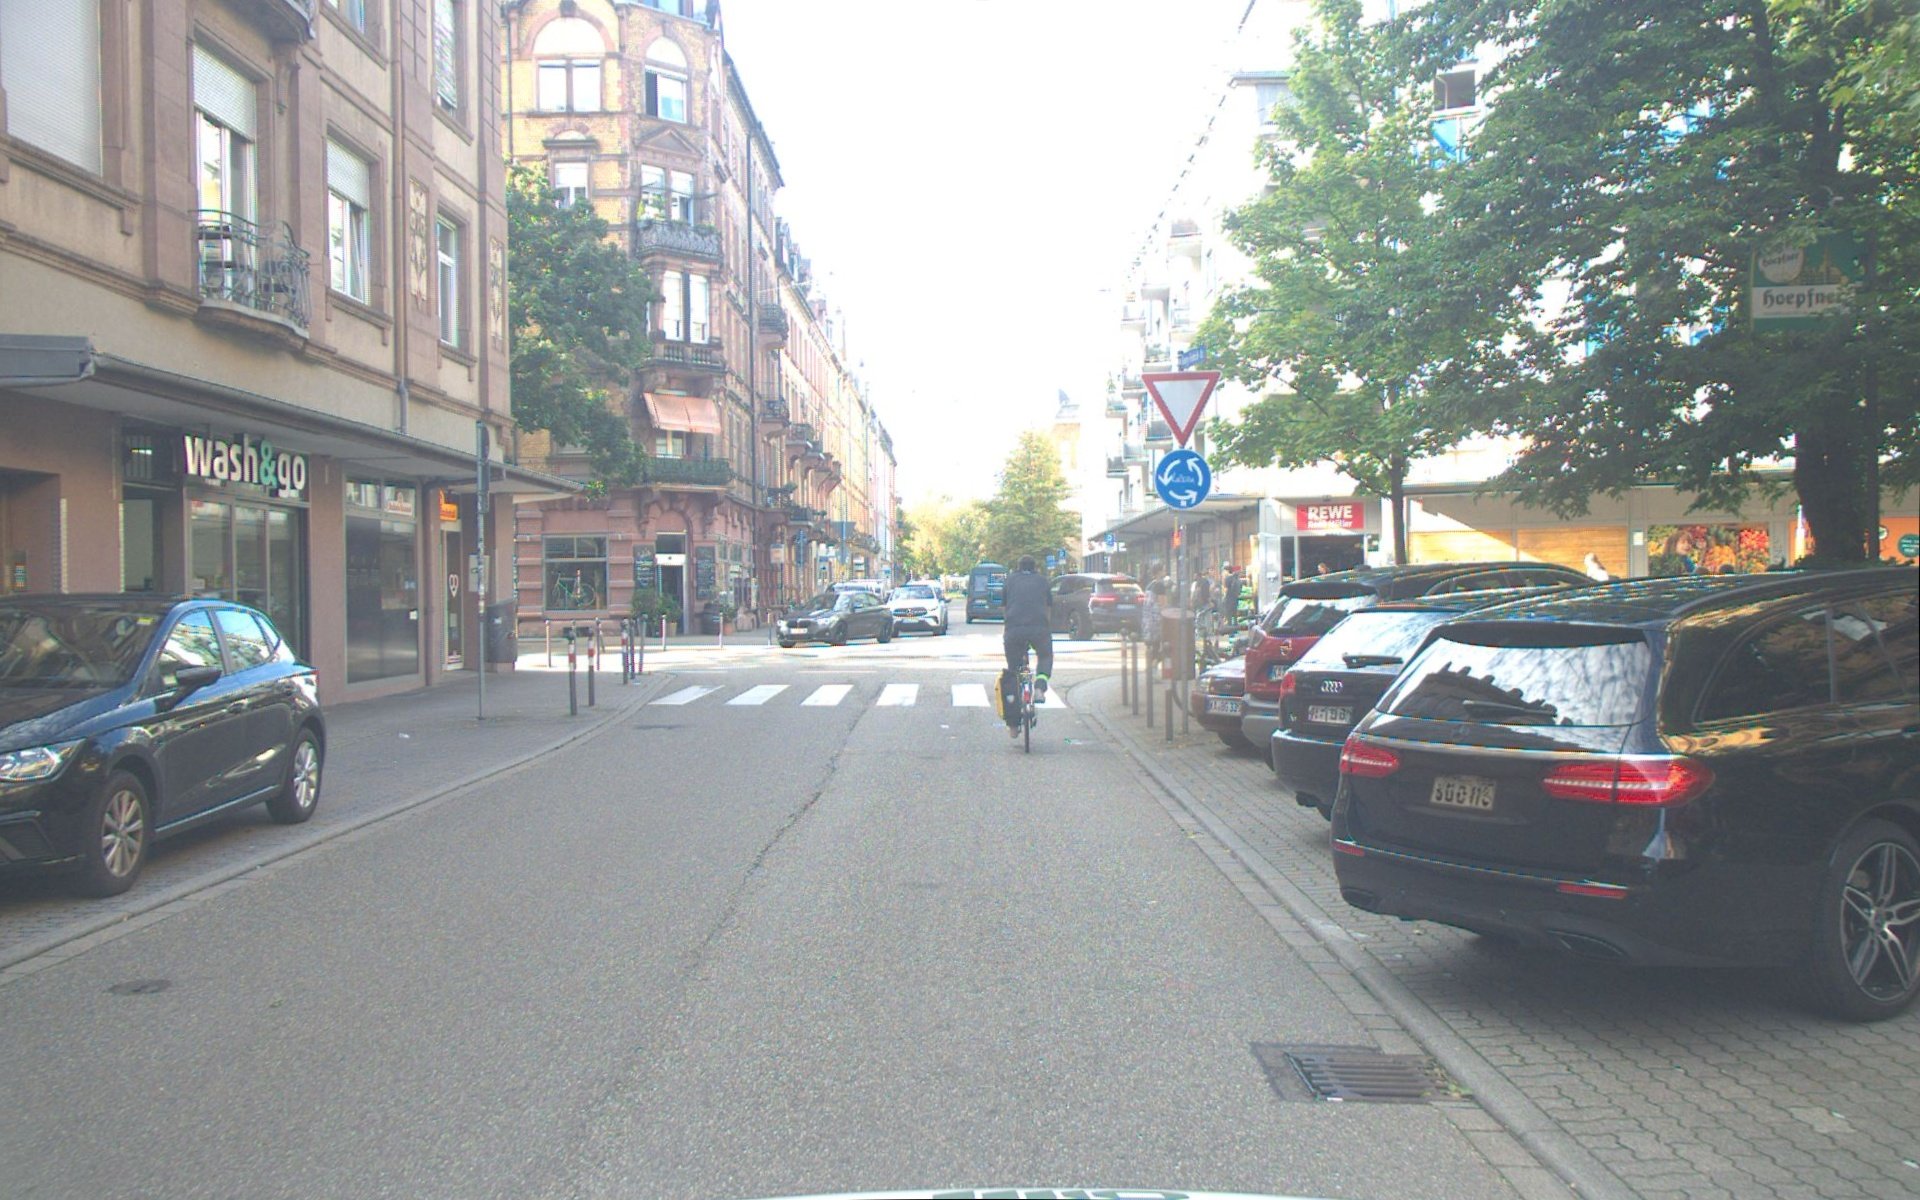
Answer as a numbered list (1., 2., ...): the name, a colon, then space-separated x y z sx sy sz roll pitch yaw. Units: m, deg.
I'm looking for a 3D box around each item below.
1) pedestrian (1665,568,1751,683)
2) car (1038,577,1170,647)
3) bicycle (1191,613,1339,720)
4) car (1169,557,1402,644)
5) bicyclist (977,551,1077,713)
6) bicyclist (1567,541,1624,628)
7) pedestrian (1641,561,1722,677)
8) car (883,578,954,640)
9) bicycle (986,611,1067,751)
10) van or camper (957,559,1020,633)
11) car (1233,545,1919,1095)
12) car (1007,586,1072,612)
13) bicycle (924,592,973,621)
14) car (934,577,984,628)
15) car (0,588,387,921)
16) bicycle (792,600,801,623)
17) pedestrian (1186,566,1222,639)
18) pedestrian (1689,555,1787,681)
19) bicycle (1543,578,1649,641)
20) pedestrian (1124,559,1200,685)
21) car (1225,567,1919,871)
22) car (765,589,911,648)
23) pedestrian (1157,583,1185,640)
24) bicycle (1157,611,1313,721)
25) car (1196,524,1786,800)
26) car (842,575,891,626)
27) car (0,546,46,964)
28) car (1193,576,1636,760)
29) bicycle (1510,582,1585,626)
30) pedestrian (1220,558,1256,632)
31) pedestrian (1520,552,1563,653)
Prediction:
1. pedestrian: 9.088 0.304 20.120 0.742 1.366 0.596 -1 0 -4
2. car: 3.576 0.275 41.868 1.962 1.646 3.980 -1 0 -17
3. bicycle: 3.256 0.704 17.826 0.454 1.058 1.839 -5 1 -28
4. car: 7.221 0.012 36.993 4.761 1.754 2.030 -1 2 43
5. bicyclist: 0.652 0.297 15.903 0.913 1.510 0.748 0 0 5
6. bicyclist: 12.705 -0.299 33.103 0.991 1.697 0.944 -1 0 18
7. pedestrian: 9.027 0.226 20.704 0.742 1.417 0.548 -1 0 -4
8. car: -1.295 0.247 53.496 1.902 1.752 4.852 -2 2 2
9. bicycle: 0.673 0.725 15.887 0.651 1.198 2.499 0 0 5
10. van or camper: 1.197 -0.177 72.446 2.480 3.090 4.457 -1 0 -2
11. car: 3.655 0.579 6.887 4.700 1.482 2.038 -4 2 -28
12. car: 5.004 -0.058 104.048 3.907 1.512 1.999 -2 0 -2
13. bicycle: -0.432 0.237 61.073 1.772 1.044 0.672 -2 0 -38
14. car: 0.002 0.081 63.072 1.756 1.821 4.736 -2 0 1
15. car: -4.944 0.676 9.325 1.953 1.445 4.244 -1 0 -1
16. bicycle: -7.216 0.503 72.862 0.353 0.963 1.714 0 0 -4
17. pedestrian: 6.366 0.065 43.188 0.850 1.883 0.613 -1 0 5
18. pedestrian: 9.138 0.207 19.439 0.781 1.431 0.702 -1 0 -4
19. bicycle: 12.703 0.186 33.097 1.928 1.220 0.712 -1 0 20
20. pedestrian: 2.959 0.314 24.193 0.769 1.811 0.789 -1 0 38
21. car: 3.991 0.579 10.171 4.344 1.482 1.928 -1 0 -25
22. car: -3.139 0.469 43.388 1.718 1.461 4.201 0 0 32
23. pedestrian: 6.258 0.332 48.990 0.729 1.657 0.813 -1 0 11
24. bicycle: 2.877 0.685 17.500 0.542 1.058 1.839 -5 1 -29
25. car: 4.158 0.375 12.866 4.289 1.673 1.806 -4 1 -26
26. car: -3.919 -0.001 69.946 1.953 2.049 3.999 -2 0 -2
27. car: -4.698 0.633 4.451 1.754 1.657 4.847 -1 0 0
28. car: 4.276 0.551 15.500 3.887 1.482 1.753 -1 0 -28
29. bicycle: 14.361 0.103 40.455 1.653 1.069 0.455 -1 0 40
30. pedestrian: 7.235 -0.125 43.041 0.850 1.883 0.613 -1 0 5
31. pedestrian: 10.407 0.046 29.619 0.615 1.769 0.776 -1 0 12
